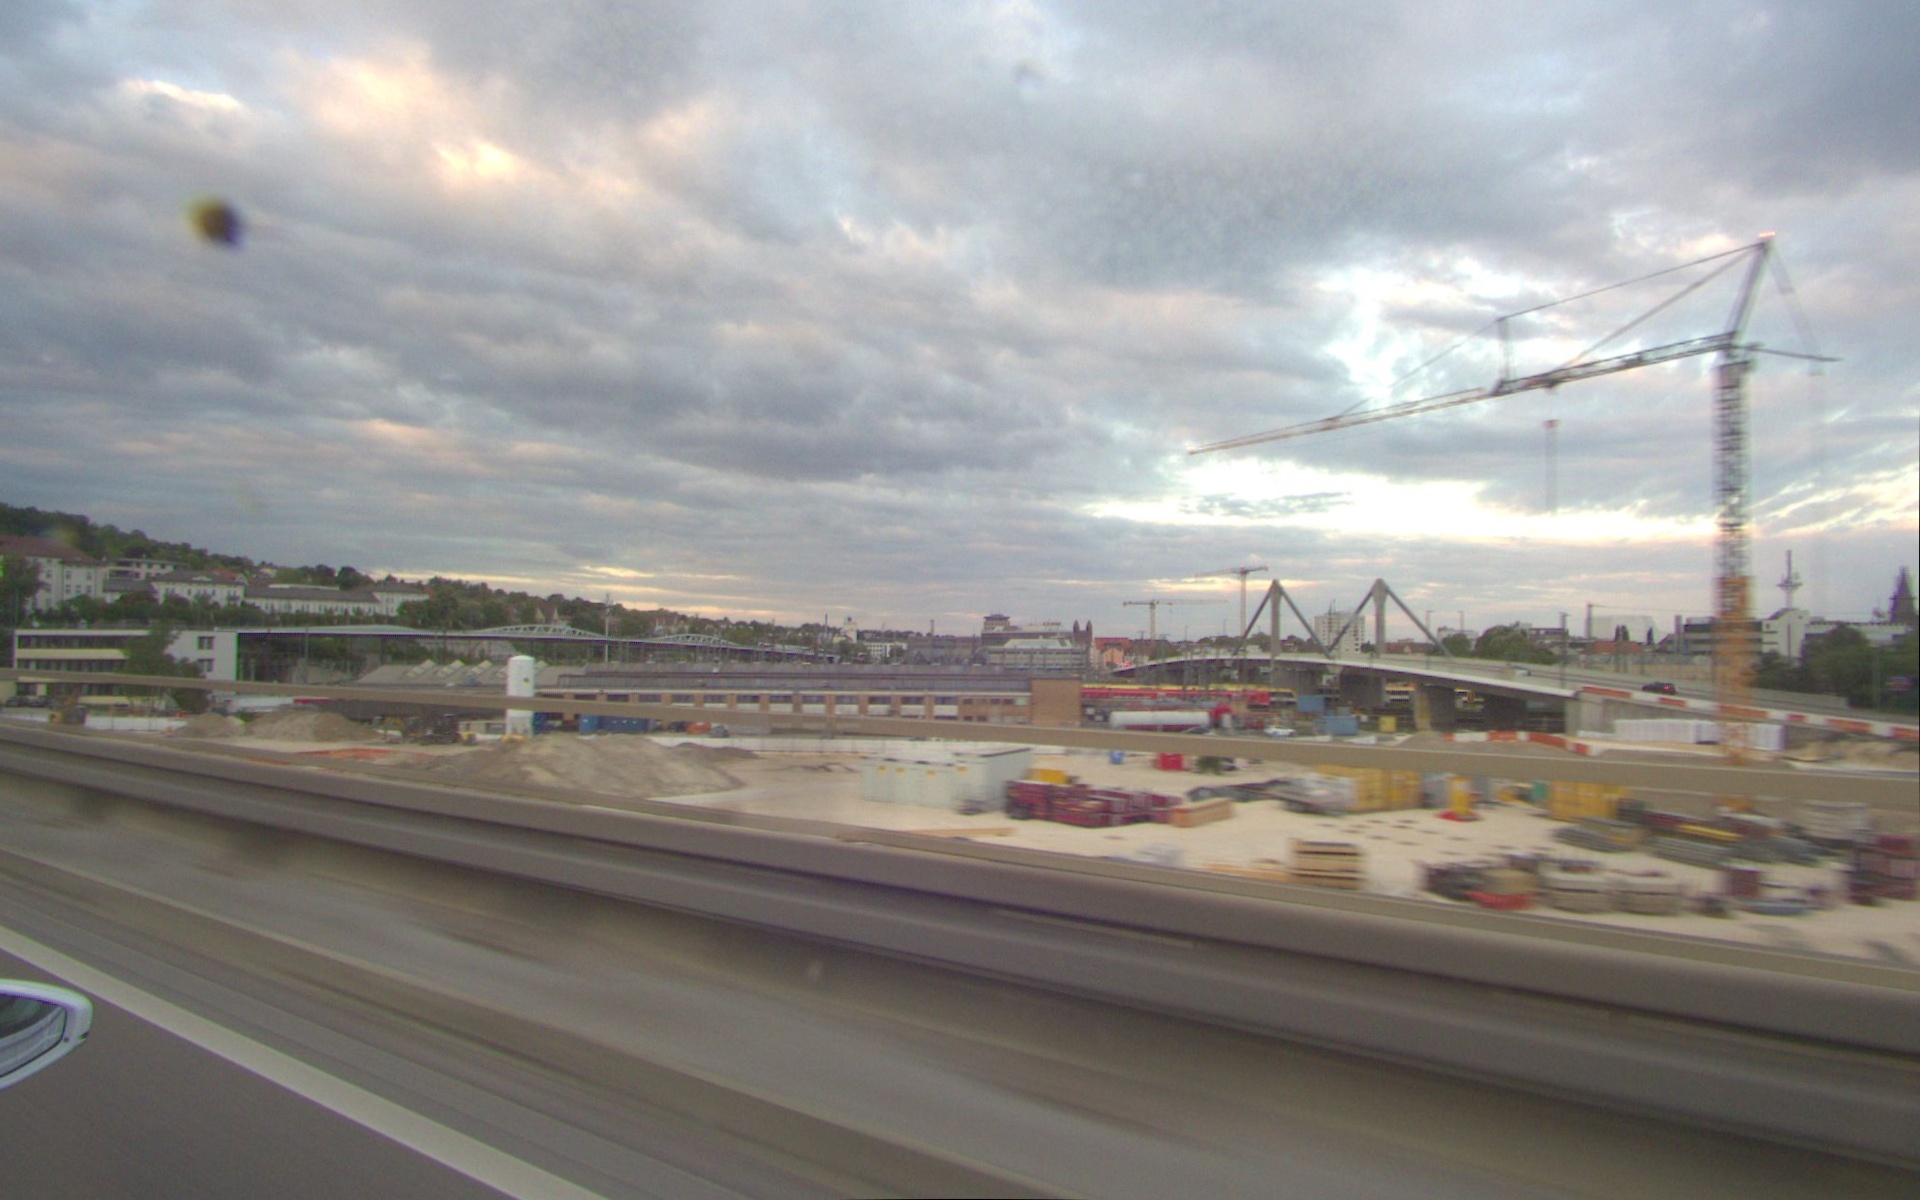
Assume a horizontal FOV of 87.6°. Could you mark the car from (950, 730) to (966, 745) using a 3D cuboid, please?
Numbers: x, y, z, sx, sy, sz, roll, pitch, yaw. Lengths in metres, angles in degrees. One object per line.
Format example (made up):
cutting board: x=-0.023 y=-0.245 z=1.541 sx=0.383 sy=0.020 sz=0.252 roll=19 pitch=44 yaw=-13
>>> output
car: x=-0.231 y=17.876 z=130.488 sx=1.835 sy=1.733 sz=4.009 roll=4 pitch=-7 yaw=-2

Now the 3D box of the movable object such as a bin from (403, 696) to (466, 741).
movable object such as a bin: x=-54.512 y=12.369 z=104.025 sx=2.733 sy=4.356 sz=4.965 roll=2 pitch=-8 yaw=15

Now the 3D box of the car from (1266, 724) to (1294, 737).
car: x=46.108 y=18.785 z=144.358 sx=3.619 sy=1.593 sz=1.440 roll=6 pitch=-7 yaw=-11

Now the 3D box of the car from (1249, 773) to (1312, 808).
car: x=22.011 y=13.086 z=68.898 sx=1.664 sy=1.942 sz=3.982 roll=8 pitch=-8 yaw=-30

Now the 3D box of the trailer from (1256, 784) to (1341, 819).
trailer: x=18.350 y=10.915 z=54.405 sx=1.761 sy=1.256 sz=4.230 roll=4 pitch=-4 yaw=-31

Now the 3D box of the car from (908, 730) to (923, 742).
car: x=-5.805 y=17.679 z=130.414 sx=1.835 sy=1.435 sz=4.009 roll=4 pitch=-7 yaw=-2

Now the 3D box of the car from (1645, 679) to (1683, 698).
car: x=94.940 y=11.938 z=135.067 sx=1.962 sy=2.039 sz=3.999 roll=5 pitch=0 yaw=-5

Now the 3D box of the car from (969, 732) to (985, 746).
car: x=2.199 y=17.992 z=129.853 sx=1.835 sy=1.669 sz=4.009 roll=4 pitch=-7 yaw=-2

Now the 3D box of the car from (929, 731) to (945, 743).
car: x=-3.012 y=17.829 z=130.179 sx=1.835 sy=1.435 sz=4.009 roll=4 pitch=-7 yaw=-2

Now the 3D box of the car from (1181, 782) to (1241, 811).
car: x=16.123 y=12.643 z=64.494 sx=1.510 sy=1.457 sz=3.780 roll=8 pitch=-8 yaw=-30

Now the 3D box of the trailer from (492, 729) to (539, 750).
trailer: x=-43.020 y=13.498 z=96.916 sx=3.779 sy=1.823 sz=2.000 roll=1 pitch=-7 yaw=23

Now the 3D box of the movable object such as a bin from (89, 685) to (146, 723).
movable object such as a bin: x=-105.620 y=13.067 z=125.560 sx=4.867 sy=4.356 sz=2.788 roll=1 pitch=-7 yaw=18

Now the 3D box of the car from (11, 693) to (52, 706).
car: x=-124.389 y=13.380 z=134.191 sx=1.797 sy=1.583 sz=4.006 roll=5 pitch=-6 yaw=-4

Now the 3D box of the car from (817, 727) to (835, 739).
car: x=-17.420 y=17.348 z=130.608 sx=1.835 sy=1.435 sz=4.009 roll=4 pitch=-7 yaw=-2

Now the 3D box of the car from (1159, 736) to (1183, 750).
car: x=27.392 y=18.618 z=130.256 sx=1.835 sy=1.539 sz=4.348 roll=1 pitch=-4 yaw=-6

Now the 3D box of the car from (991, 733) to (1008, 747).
car: x=5.131 y=18.131 z=129.592 sx=1.835 sy=1.669 sz=4.009 roll=4 pitch=-7 yaw=-2

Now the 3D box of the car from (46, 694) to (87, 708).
car: x=-117.653 y=13.307 z=131.878 sx=1.797 sy=1.583 sz=4.006 roll=5 pitch=-6 yaw=-4

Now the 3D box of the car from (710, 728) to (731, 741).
car: x=-31.313 y=17.608 z=131.074 sx=1.835 sy=1.435 sz=4.009 roll=4 pitch=-7 yaw=-2

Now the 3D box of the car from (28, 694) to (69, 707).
car: x=-121.271 y=13.353 z=133.314 sx=1.797 sy=1.583 sz=4.006 roll=5 pitch=-6 yaw=-4

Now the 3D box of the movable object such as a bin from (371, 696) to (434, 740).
movable object such as a bin: x=-58.240 y=12.390 z=104.765 sx=2.733 sy=4.356 sz=4.965 roll=2 pitch=-8 yaw=15
